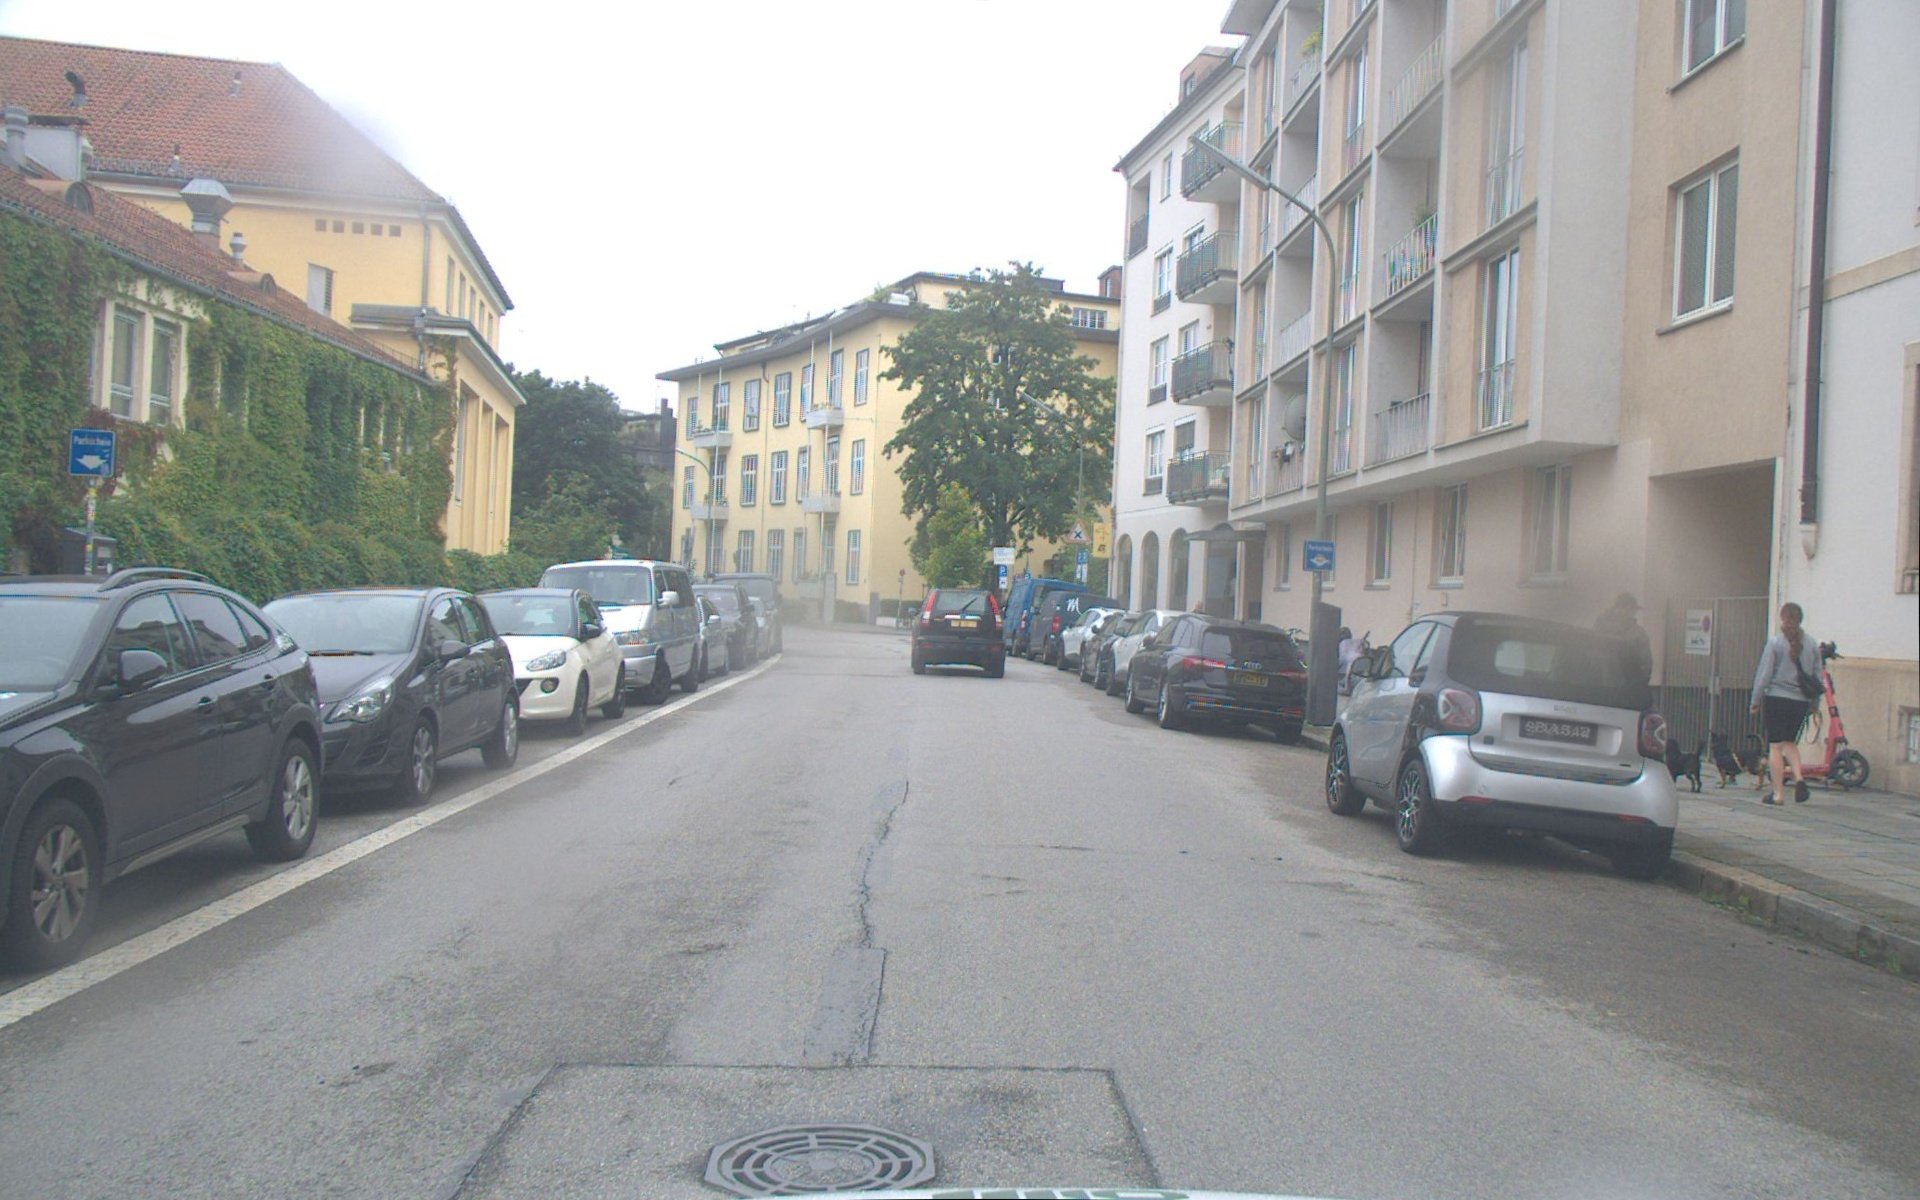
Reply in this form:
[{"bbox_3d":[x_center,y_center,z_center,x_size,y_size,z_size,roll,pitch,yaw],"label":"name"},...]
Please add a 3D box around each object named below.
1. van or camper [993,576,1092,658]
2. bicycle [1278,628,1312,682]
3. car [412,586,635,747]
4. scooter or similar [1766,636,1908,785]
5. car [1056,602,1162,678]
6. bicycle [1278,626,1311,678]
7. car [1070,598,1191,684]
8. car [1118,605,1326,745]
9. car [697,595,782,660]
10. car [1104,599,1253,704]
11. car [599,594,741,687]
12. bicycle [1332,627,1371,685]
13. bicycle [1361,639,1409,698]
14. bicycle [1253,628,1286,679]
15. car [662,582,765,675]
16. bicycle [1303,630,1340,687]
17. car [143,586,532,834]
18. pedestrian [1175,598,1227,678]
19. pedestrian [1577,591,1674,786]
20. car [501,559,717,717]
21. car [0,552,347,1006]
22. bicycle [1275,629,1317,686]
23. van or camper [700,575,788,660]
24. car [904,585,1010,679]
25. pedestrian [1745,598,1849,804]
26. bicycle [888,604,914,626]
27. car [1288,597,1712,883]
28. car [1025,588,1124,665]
[{"bbox_3d":[2.370,0.450,49.067,2.021,2.270,5.430,1,0,-7],"label":"van or camper"},{"bbox_3d":[6.802,1.110,33.620,0.382,1.041,1.401,1,0,-1],"label":"bicycle"},{"bbox_3d":[-4.543,0.623,17.706,1.547,1.518,3.728,-1,0,-3],"label":"car"},{"bbox_3d":[7.770,0.972,14.689,0.588,1.274,1.036,1,-3,-9],"label":"scooter or similar"},{"bbox_3d":[3.332,0.863,37.698,1.705,1.564,4.270,1,1,-4],"label":"car"},{"bbox_3d":[7.095,1.094,35.125,0.382,1.041,1.401,1,0,-1],"label":"bicycle"},{"bbox_3d":[3.309,0.765,32.825,1.704,1.525,4.493,1,0,-3],"label":"car"},{"bbox_3d":[3.350,0.908,22.009,1.760,1.445,4.480,5,1,-3],"label":"car"},{"bbox_3d":[-5.091,0.603,38.637,1.587,1.402,4.070,0,0,-2],"label":"car"},{"bbox_3d":[3.519,0.788,27.334,1.704,1.525,4.217,1,0,-3],"label":"car"},{"bbox_3d":[-4.896,0.637,28.461,1.666,1.447,4.424,-1,0,0],"label":"car"},{"bbox_3d":[7.468,1.062,31.573,0.382,1.041,1.401,1,0,-1],"label":"bicycle"},{"bbox_3d":[7.441,1.190,29.006,0.435,0.952,1.401,1,0,-1],"label":"bicycle"},{"bbox_3d":[6.638,1.149,35.510,0.414,1.041,1.301,1,0,-1],"label":"bicycle"},{"bbox_3d":[-4.946,0.536,33.618,1.587,1.760,4.423,0,0,-2],"label":"car"},{"bbox_3d":[7.004,1.127,32.073,0.382,1.041,1.401,1,0,-1],"label":"bicycle"},{"bbox_3d":[-4.357,0.662,12.203,1.547,1.481,3.902,-1,1,-3],"label":"car"},{"bbox_3d":[5.343,0.830,36.744,0.880,1.717,1.319,1,0,-3],"label":"pedestrian"},{"bbox_3d":[5.883,0.762,14.652,0.584,1.683,0.630,1,0,-1],"label":"pedestrian"},{"bbox_3d":[-4.673,0.462,22.773,1.953,1.908,4.758,-1,0,0],"label":"car"},{"bbox_3d":[-4.277,0.615,7.303,1.746,1.565,4.147,-1,1,-3],"label":"car"},{"bbox_3d":[6.505,1.108,32.071,0.473,1.041,1.401,1,0,-1],"label":"bicycle"},{"bbox_3d":[-5.622,0.416,43.522,1.922,2.101,4.750,0,0,-3],"label":"van or camper"},{"bbox_3d":[-0.023,0.588,33.309,1.954,1.723,4.381,1,0,1],"label":"car"},{"bbox_3d":[6.728,0.797,13.314,0.520,1.612,0.560,1,0,-1],"label":"pedestrian"},{"bbox_3d":[-3.175,0.810,88.626,0.600,1.091,2.200,1,0,-24],"label":"bicycle"},{"bbox_3d":[3.650,0.843,11.929,1.638,1.561,3.881,5,1,-1],"label":"car"},{"bbox_3d":[2.921,0.644,43.297,1.925,1.848,4.932,1,0,-3],"label":"car"}]
